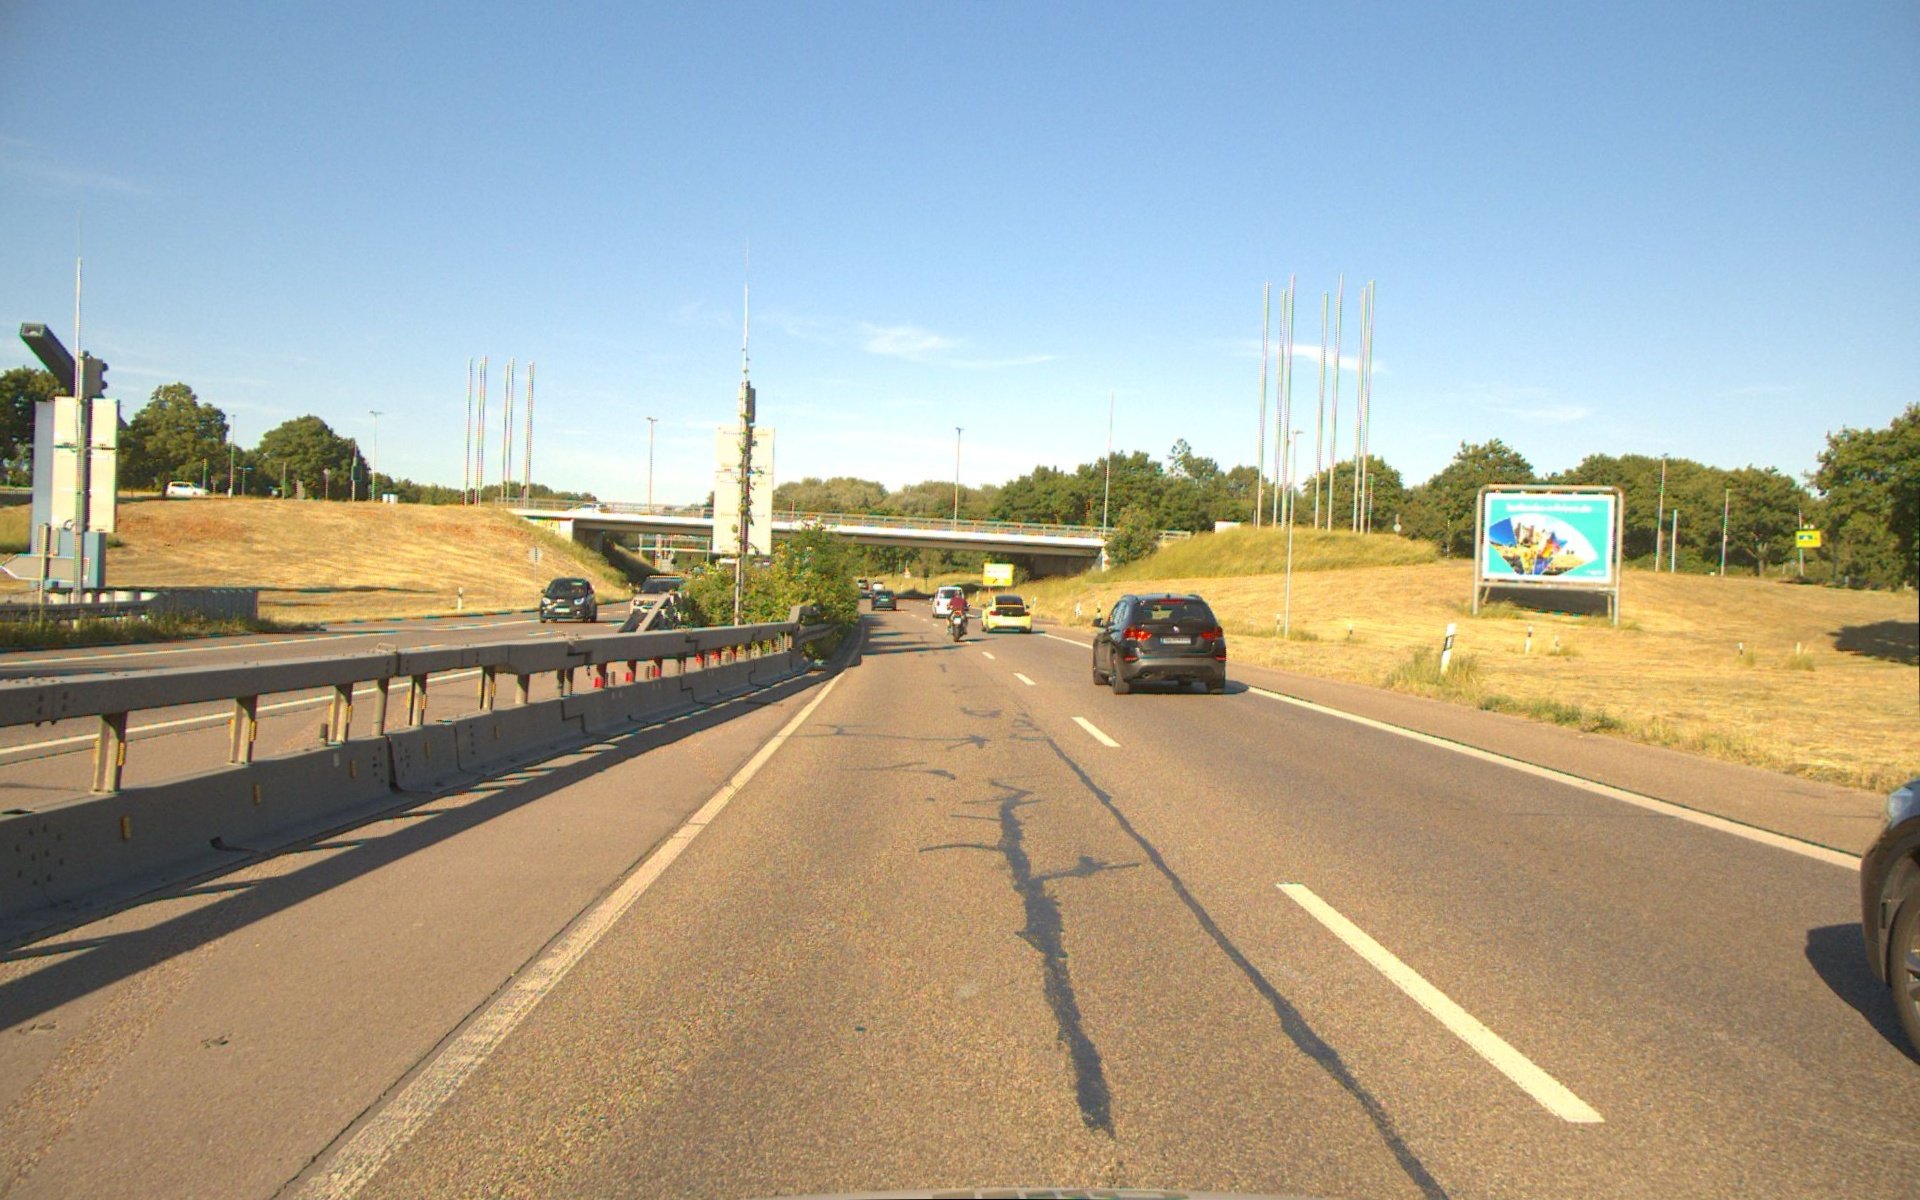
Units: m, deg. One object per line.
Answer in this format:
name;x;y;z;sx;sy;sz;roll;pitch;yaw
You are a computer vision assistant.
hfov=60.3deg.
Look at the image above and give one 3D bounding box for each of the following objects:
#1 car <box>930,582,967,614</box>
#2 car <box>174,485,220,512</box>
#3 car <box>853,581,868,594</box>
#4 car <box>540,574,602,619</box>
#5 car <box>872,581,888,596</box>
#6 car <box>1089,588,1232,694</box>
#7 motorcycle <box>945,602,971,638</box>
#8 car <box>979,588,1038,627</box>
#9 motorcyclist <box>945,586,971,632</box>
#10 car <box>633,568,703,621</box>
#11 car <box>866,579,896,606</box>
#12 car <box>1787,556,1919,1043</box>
car;-0.695;-0.131;95.630;1.860;1.798;3.996;0;1;-5
car;-84.951;-11.313;184.153;4.219;2.854;2.082;2;1;17
car;-13.682;-1.714;228.690;1.831;1.714;3.999;2;0;-1
car;-13.746;-0.142;58.579;1.577;1.511;3.390;1;1;-3
car;-10.222;-1.462;210.839;1.831;1.714;3.999;2;0;-1
car;3.198;0.600;27.176;1.664;1.532;4.578;-1;1;-2
motorcycle;-0.053;0.648;54.236;0.800;1.088;2.836;1;1;1
car;1.895;0.286;66.115;1.860;1.496;3.995;0;0;-6
motorcyclist;-0.062;0.279;54.152;0.800;1.472;1.094;1;1;0
car;-9.244;-0.185;52.581;1.682;1.602;4.161;1;1;-3
car;-5.572;-0.526;116.110;1.861;1.797;3.995;1;1;-6
car;4.056;0.685;4.025;1.720;1.600;4.519;1;1;-2
